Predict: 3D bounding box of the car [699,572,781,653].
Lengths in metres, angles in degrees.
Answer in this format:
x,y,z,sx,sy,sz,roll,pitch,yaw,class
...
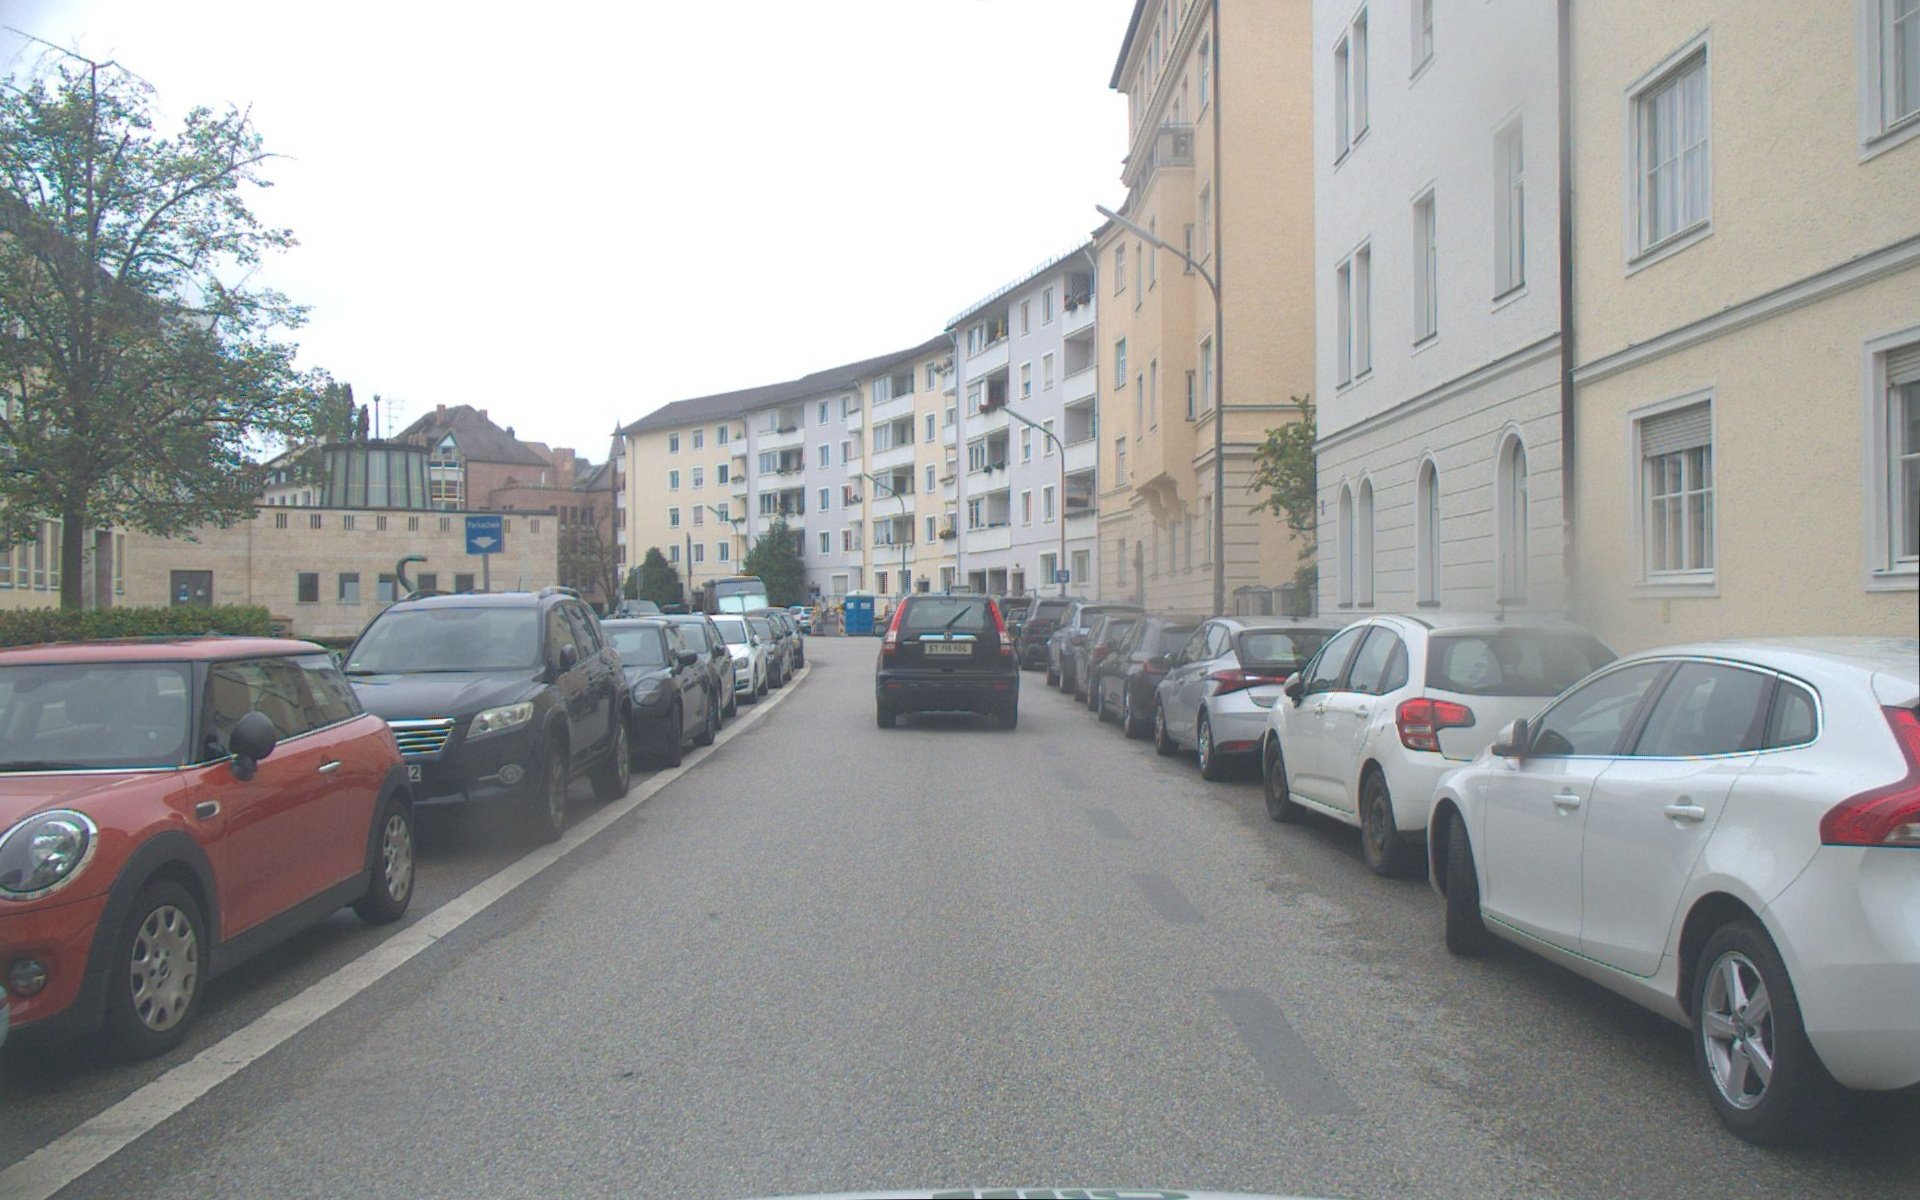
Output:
x,y,z,sx,sy,sz,roll,pitch,yaw,class
-7.918,0.435,59.150,2.128,2.688,5.993,-1,0,-15,car

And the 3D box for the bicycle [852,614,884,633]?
x,y,z,sx,sy,sz,roll,pitch,yaw,class
-5.414,1.402,97.665,1.841,1.110,0.561,0,-1,-23,bicycle

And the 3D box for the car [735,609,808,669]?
x,y,z,sx,sy,sz,roll,pitch,yaw,class
-4.907,0.984,43.356,1.764,1.430,4.450,-2,0,-6,car

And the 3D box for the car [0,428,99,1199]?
x,y,z,sx,sy,sz,roll,pitch,yaw,class
-3.267,0.571,2.141,1.890,2.014,5.019,-1,0,-3,car

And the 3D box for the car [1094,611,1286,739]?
x,y,z,sx,sy,sz,roll,pitch,yaw,class
2.779,0.864,20.891,1.645,1.452,4.389,0,-1,-2,car

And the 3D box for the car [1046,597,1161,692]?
x,y,z,sx,sy,sz,roll,pitch,yaw,class
2.634,0.797,31.278,1.687,1.663,4.456,0,-1,-2,car

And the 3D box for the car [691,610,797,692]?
x,y,z,sx,sy,sz,roll,pitch,yaw,class
-4.298,0.974,33.481,1.720,1.479,4.393,-2,0,-3,car

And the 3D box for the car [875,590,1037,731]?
x,y,z,sx,sy,sz,roll,pitch,yaw,class
-0.143,0.733,21.740,1.854,1.676,3.987,0,-1,-4,car

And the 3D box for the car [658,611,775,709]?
x,y,z,sx,sy,sz,roll,pitch,yaw,class
-4.087,0.963,28.291,1.624,1.479,4.069,-2,0,-4,car

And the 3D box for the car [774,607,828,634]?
x,y,z,sx,sy,sz,roll,pitch,yaw,class
-9.133,1.160,94.680,1.705,1.509,3.962,1,0,-29,car

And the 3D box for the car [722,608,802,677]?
x,y,z,sx,sy,sz,roll,pitch,yaw,class
-4.576,0.950,38.535,1.624,1.479,3.309,-2,0,-4,car

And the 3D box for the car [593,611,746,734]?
x,y,z,sx,sy,sz,roll,pitch,yaw,class
-3.904,0.920,22.781,1.624,1.479,3.971,-2,0,-4,car

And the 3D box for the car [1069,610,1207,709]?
x,y,z,sx,sy,sz,roll,pitch,yaw,class
2.742,0.889,26.232,1.645,1.452,4.085,0,-1,-2,car

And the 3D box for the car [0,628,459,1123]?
x,y,z,sx,sy,sz,roll,pitch,yaw,class
-3.517,0.855,6.877,1.708,1.411,3.917,1,0,-1,car

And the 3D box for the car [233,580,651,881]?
x,y,z,sx,sy,sz,roll,pitch,yaw,class
-3.528,0.794,12.173,1.709,1.695,4.447,-3,0,-2,car

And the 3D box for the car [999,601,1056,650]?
x,y,z,sx,sy,sz,roll,pitch,yaw,class
2.130,0.815,53.214,1.673,1.472,3.829,1,-1,0,car

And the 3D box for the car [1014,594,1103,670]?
x,y,z,sx,sy,sz,roll,pitch,yaw,class
2.391,0.774,41.178,1.831,1.747,4.864,1,-1,-1,car

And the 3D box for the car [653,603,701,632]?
x,y,z,sx,sy,sz,roll,pitch,yaw,class
-19.034,1.192,111.217,1.709,1.911,3.951,1,0,-34,car

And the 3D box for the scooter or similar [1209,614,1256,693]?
x,y,z,sx,sy,sz,roll,pitch,yaw,class
4.186,0.817,25.467,0.475,1.184,1.171,1,-1,-3,scooter or similar

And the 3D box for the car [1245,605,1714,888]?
x,y,z,sx,sy,sz,roll,pitch,yaw,class
3.145,0.797,10.941,1.645,1.507,4.165,0,-1,-2,car

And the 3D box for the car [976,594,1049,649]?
x,y,z,sx,sy,sz,roll,pitch,yaw,class
1.805,0.750,58.270,1.745,1.838,4.266,1,-1,-9,car

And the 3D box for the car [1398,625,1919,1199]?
x,y,z,sx,sy,sz,roll,pitch,yaw,class
3.082,0.826,6.102,1.645,1.434,4.441,0,-1,-2,car

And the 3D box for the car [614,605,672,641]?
x,y,z,sx,sy,sz,roll,pitch,yaw,class
-15.631,1.126,81.404,1.659,1.737,4.472,0,-1,-27,car

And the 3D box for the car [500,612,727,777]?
x,y,z,sx,sy,sz,roll,pitch,yaw,class
-3.538,0.899,17.518,1.646,1.479,3.868,-2,0,-2,car

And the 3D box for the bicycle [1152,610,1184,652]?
x,y,z,sx,sy,sz,roll,pitch,yaw,class
5.781,0.858,46.108,0.567,1.102,1.953,-3,0,-1,bicycle

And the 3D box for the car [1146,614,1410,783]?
x,y,z,sx,sy,sz,roll,pitch,yaw,class
2.972,0.864,16.314,1.645,1.452,4.165,0,-1,-2,car

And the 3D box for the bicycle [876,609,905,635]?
x,y,z,sx,sy,sz,roll,pitch,yaw,class
-3.787,1.195,90.003,0.953,1.413,2.552,0,-1,-16,bicycle
